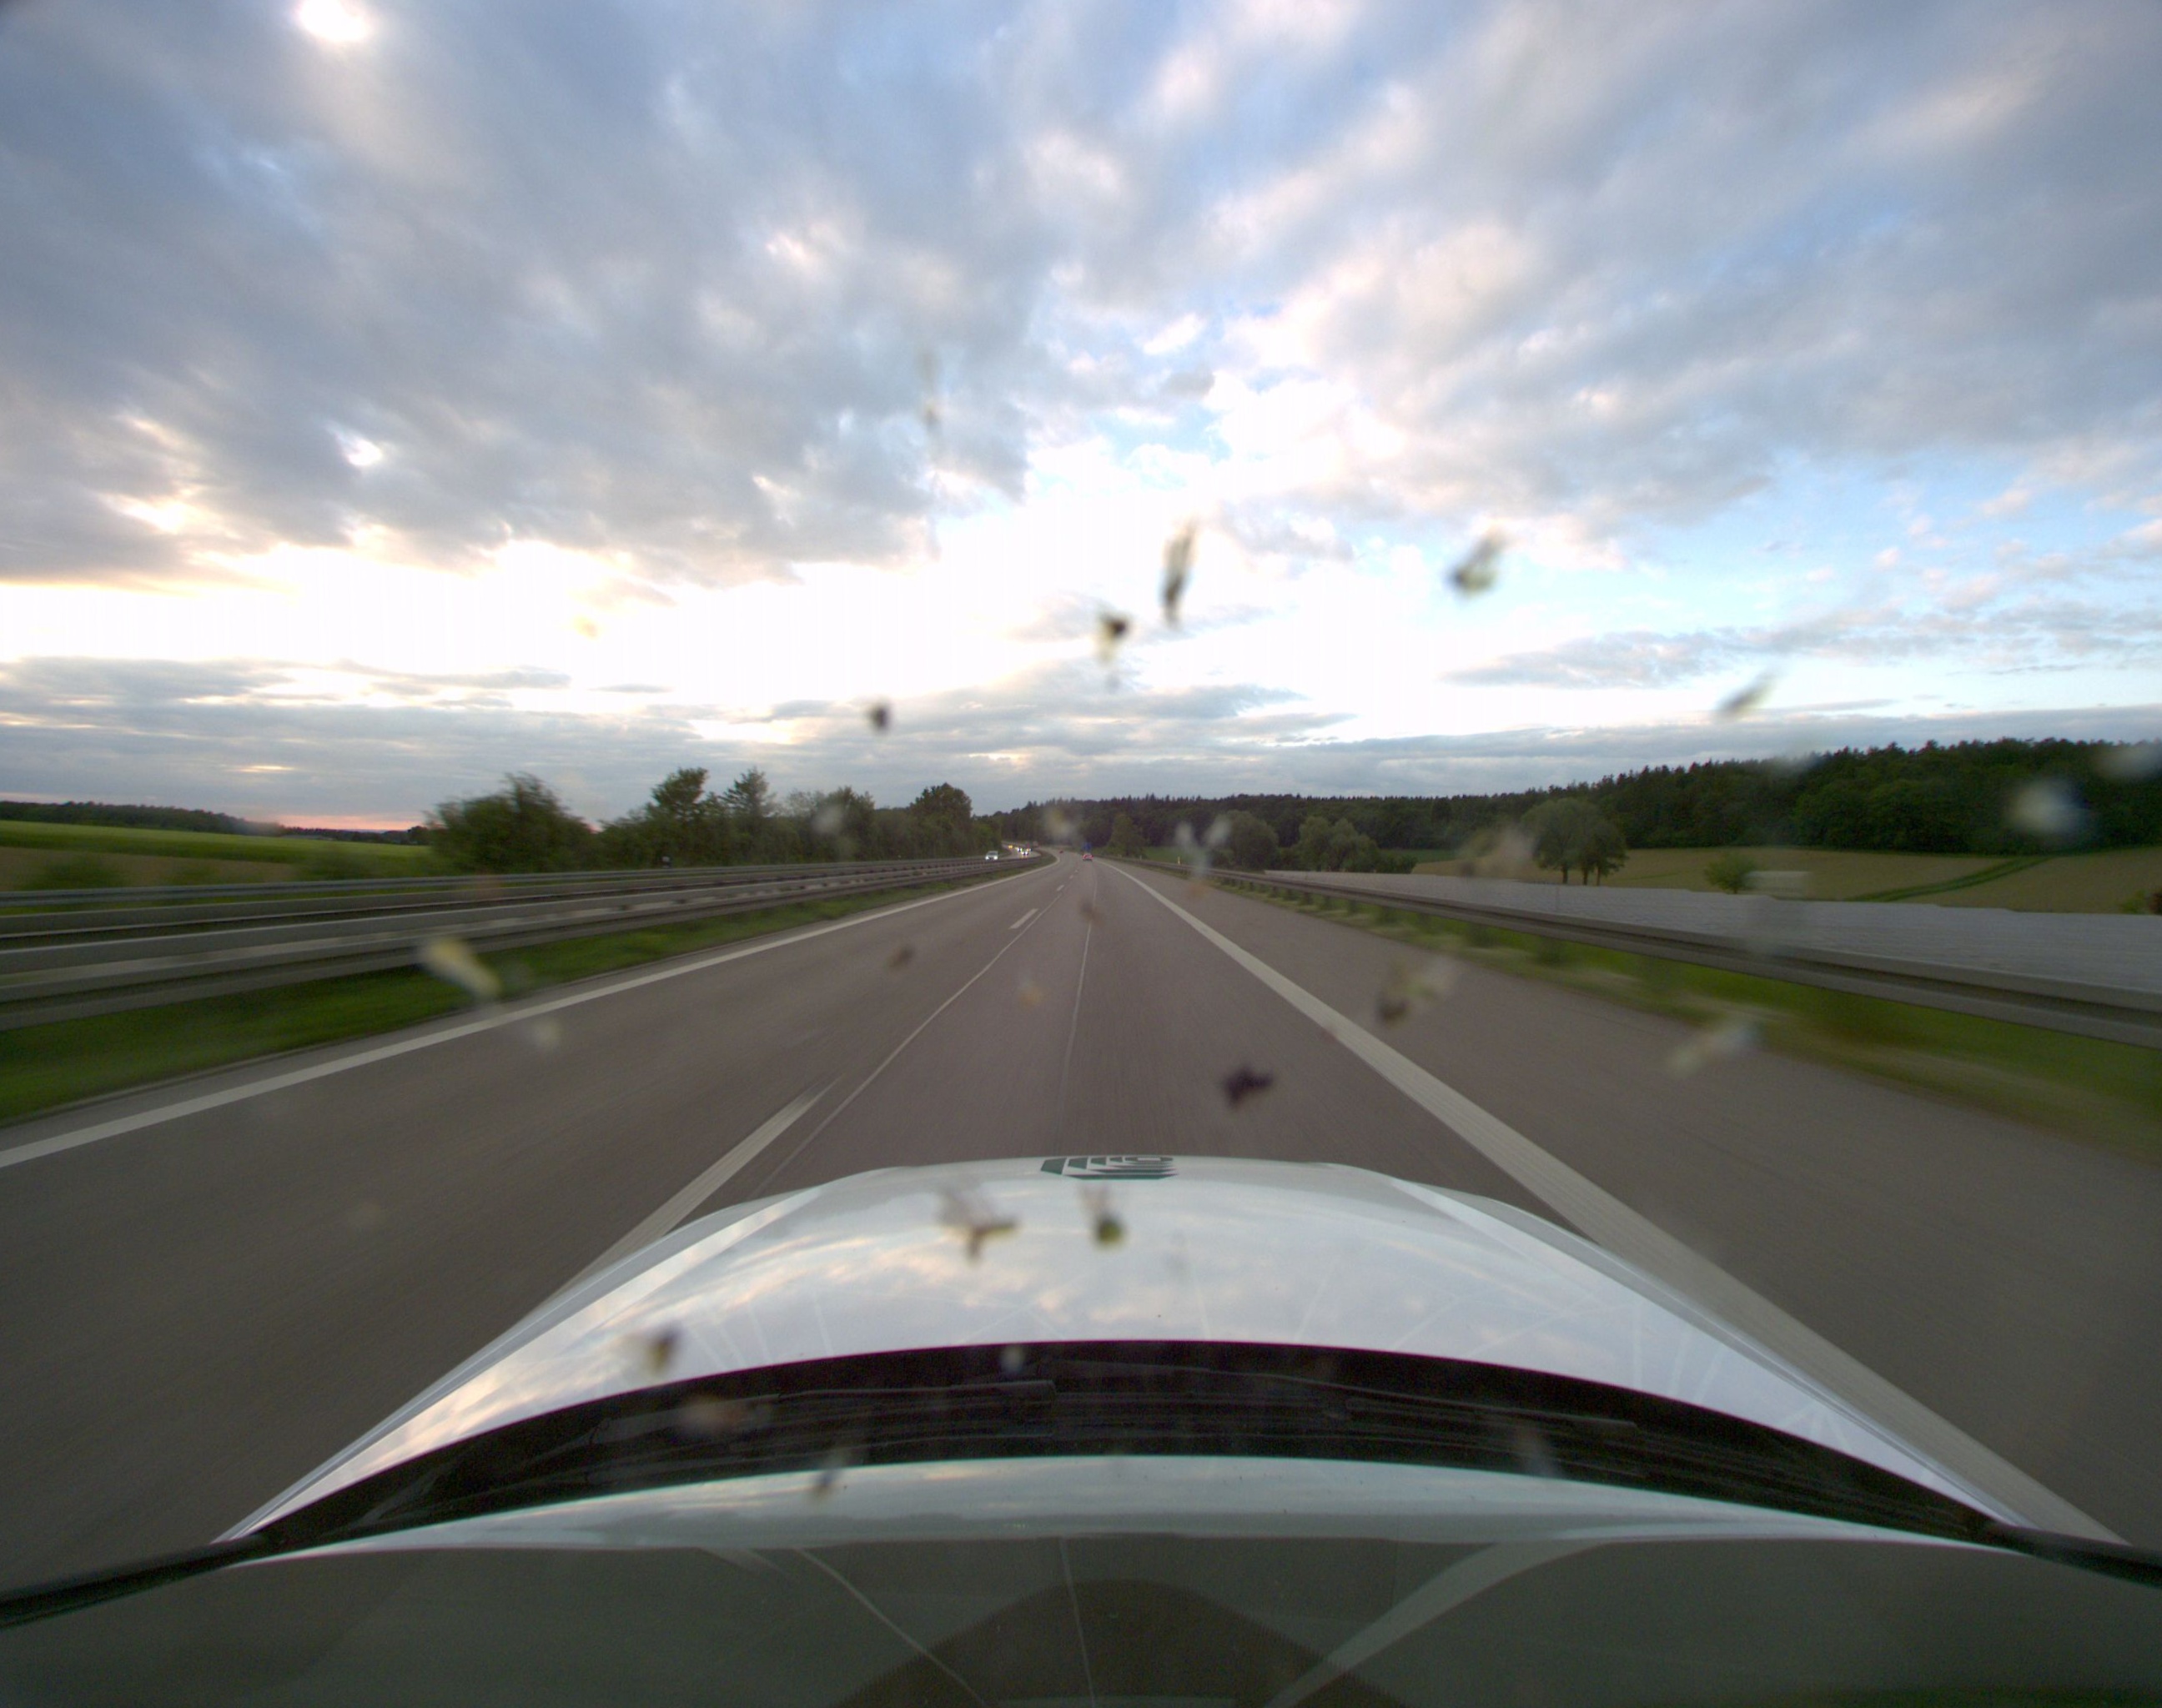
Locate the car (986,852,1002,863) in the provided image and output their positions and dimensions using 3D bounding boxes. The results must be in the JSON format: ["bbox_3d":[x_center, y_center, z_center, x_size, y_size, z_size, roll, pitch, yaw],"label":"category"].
[{"bbox_3d":[-14.788,0.542,138.998,1.986,1.626,5.738,2,1,2],"label":"car"}]

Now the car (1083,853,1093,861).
[{"bbox_3d":[1.502,0.561,164.341,1.945,1.531,4.080,2,1,0],"label":"car"}]
